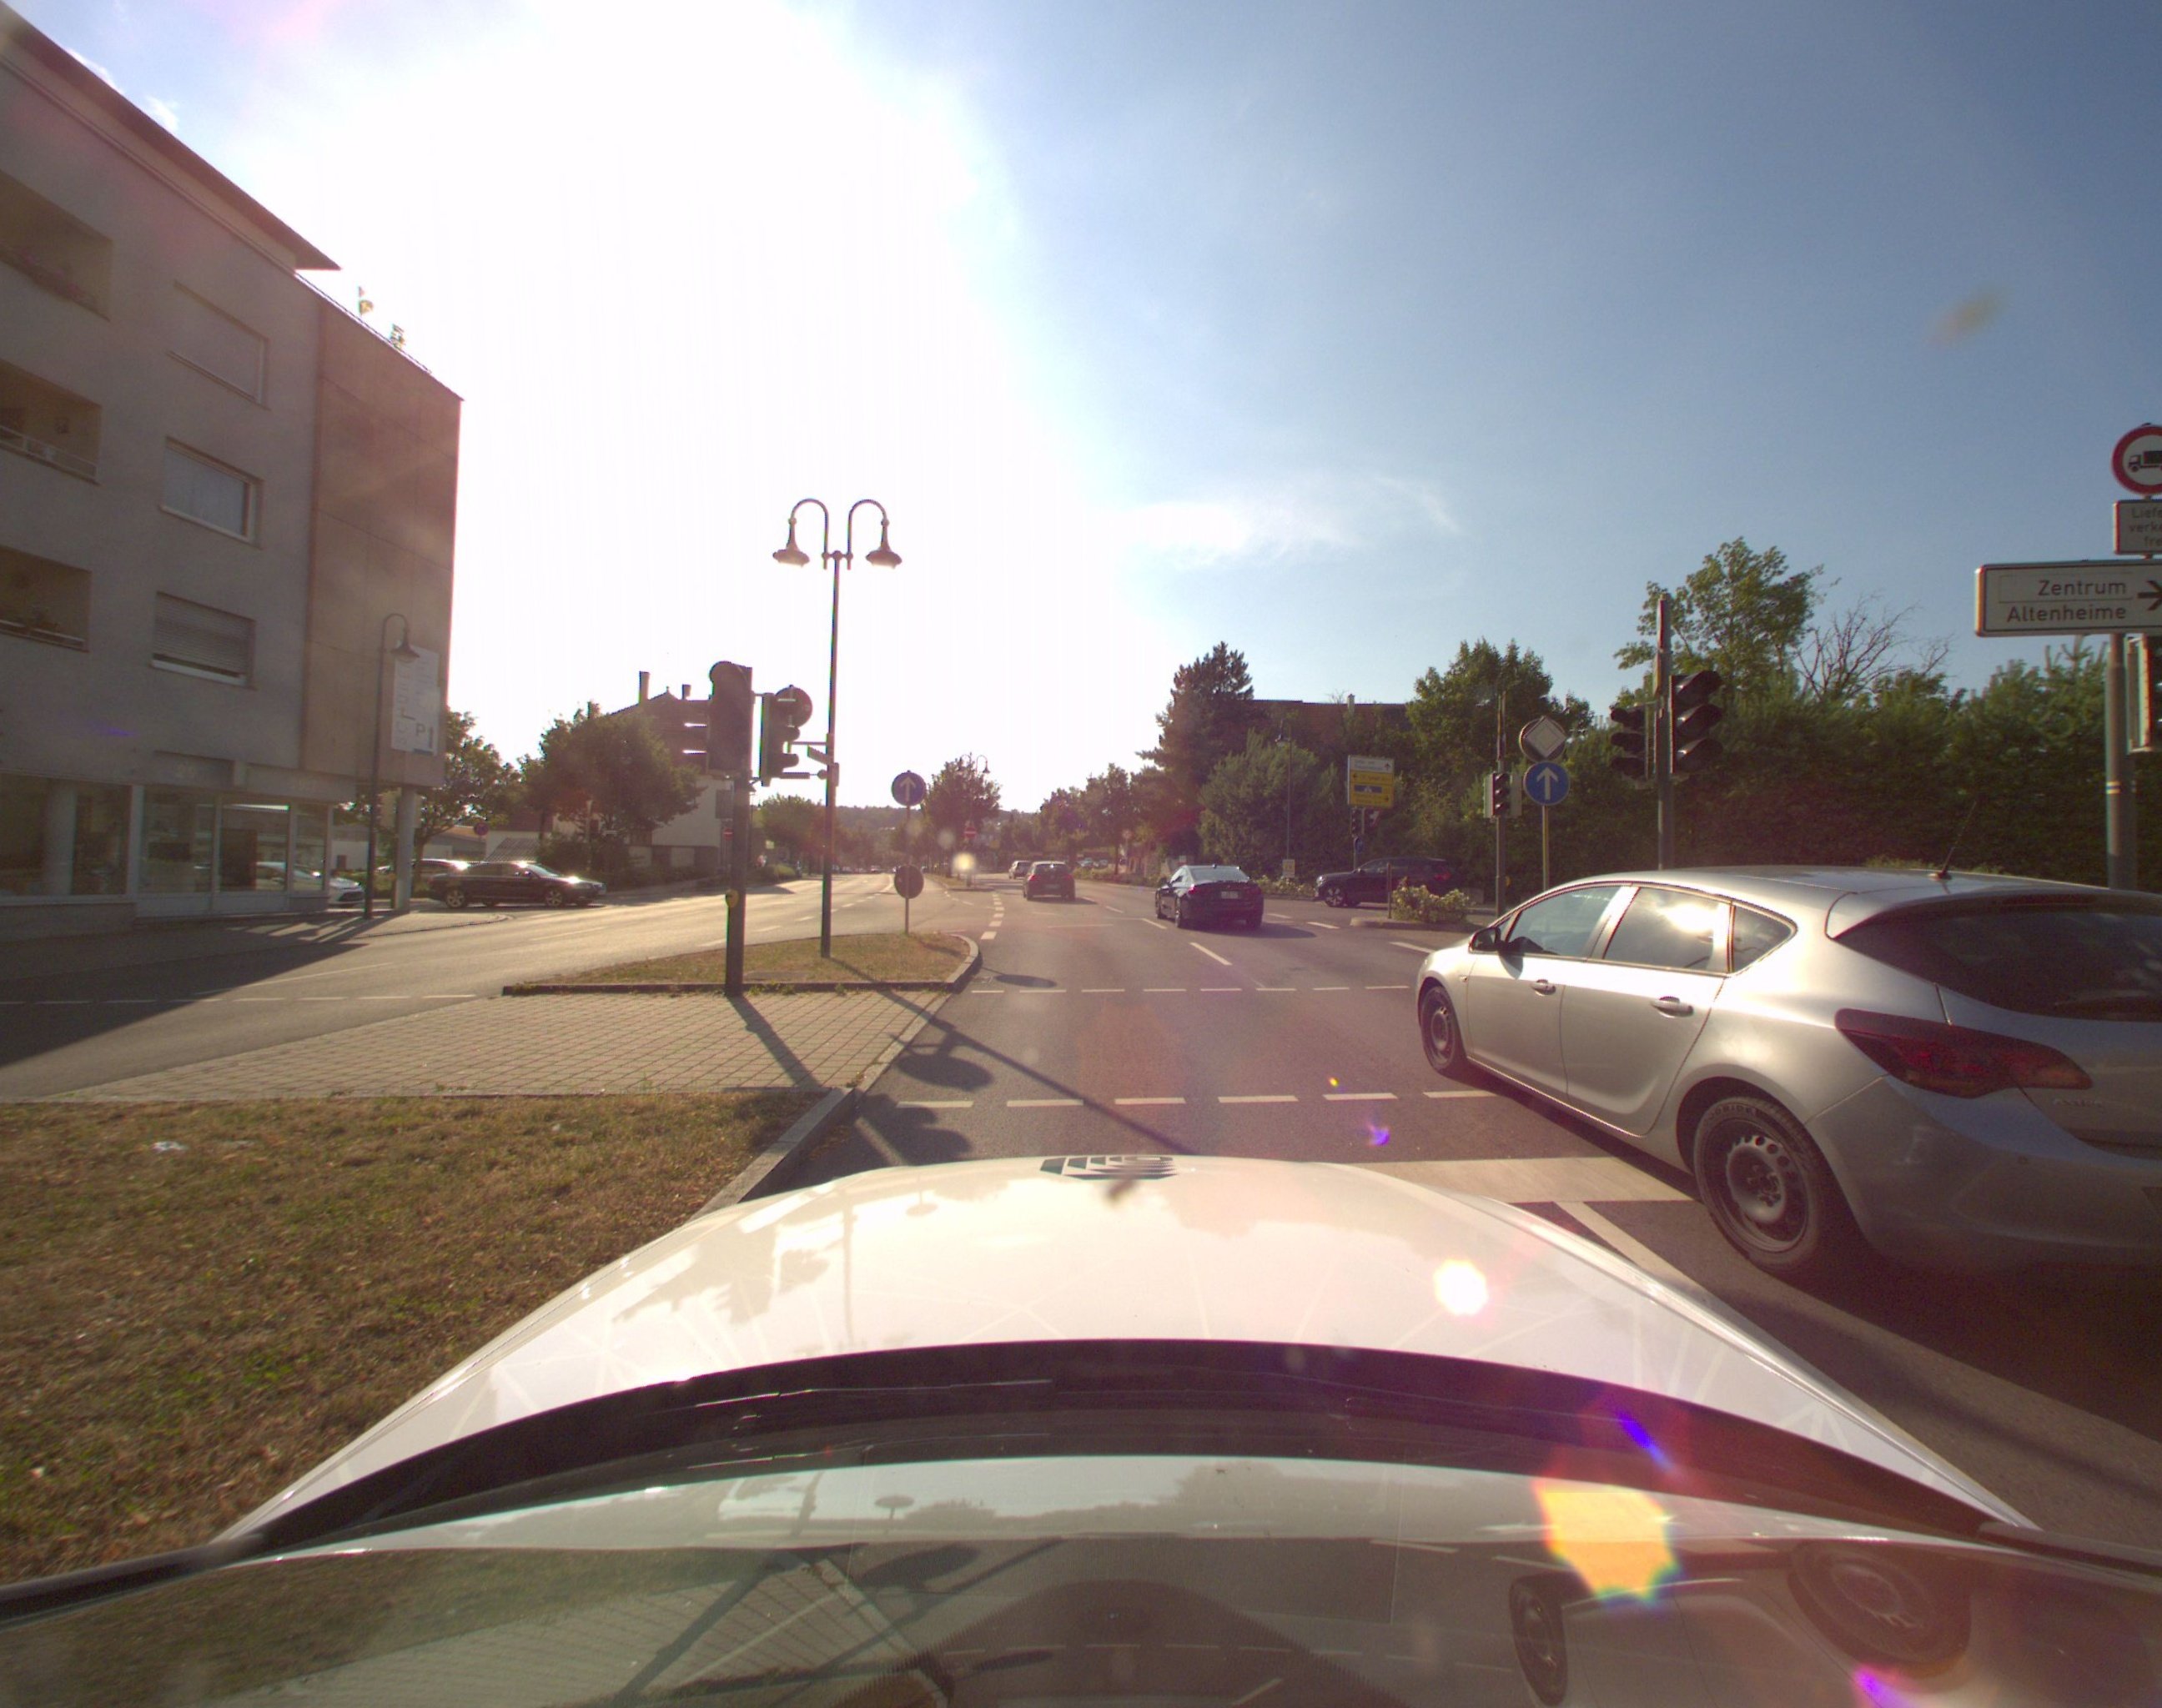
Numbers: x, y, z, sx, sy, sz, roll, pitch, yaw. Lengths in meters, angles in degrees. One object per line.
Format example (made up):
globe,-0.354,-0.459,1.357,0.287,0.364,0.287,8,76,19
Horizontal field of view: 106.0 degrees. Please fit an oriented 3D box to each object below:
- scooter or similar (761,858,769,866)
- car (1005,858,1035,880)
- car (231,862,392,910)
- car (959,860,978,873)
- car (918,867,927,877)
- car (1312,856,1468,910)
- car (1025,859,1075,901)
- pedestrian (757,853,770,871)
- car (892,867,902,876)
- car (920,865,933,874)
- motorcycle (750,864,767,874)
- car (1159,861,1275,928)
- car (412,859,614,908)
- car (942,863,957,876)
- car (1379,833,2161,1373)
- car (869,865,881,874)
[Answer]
scooter or similar,-24.817,0.637,63.996,0.444,0.582,1.038,0,-1,-15
car,-5.049,1.210,67.090,1.927,1.769,4.435,0,-1,-12
car,-24.098,0.978,25.551,3.785,1.437,1.875,-1,-1,14
car,-15.462,1.736,111.670,2.220,1.769,4.433,0,-1,-14
car,-33.262,3.836,171.029,1.772,2.014,3.987,0,-1,-9
car,9.619,0.844,25.518,4.216,1.567,1.804,0,-1,38
car,-1.247,0.940,31.012,1.718,1.490,4.345,0,-1,-5
pedestrian,-25.259,0.636,64.802,0.814,1.394,0.703,0,-1,-15
car,-34.313,3.270,151.770,1.731,1.679,3.983,0,-1,-12
car,-29.551,2.921,156.092,2.220,1.769,4.433,0,-1,-14
motorcycle,-35.783,1.701,90.372,0.511,1.069,1.880,-1,-1,22
car,3.003,0.869,18.902,1.915,1.364,4.350,0,-1,-1
car,-17.718,0.897,25.625,4.853,1.437,1.913,0,-1,-7
car,-18.086,2.064,111.766,1.758,1.769,3.952,0,-1,-14
car,3.255,0.686,4.421,1.715,1.490,4.306,0,0,0
car,-33.768,2.522,133.551,1.757,1.361,4.466,0,-1,-12
